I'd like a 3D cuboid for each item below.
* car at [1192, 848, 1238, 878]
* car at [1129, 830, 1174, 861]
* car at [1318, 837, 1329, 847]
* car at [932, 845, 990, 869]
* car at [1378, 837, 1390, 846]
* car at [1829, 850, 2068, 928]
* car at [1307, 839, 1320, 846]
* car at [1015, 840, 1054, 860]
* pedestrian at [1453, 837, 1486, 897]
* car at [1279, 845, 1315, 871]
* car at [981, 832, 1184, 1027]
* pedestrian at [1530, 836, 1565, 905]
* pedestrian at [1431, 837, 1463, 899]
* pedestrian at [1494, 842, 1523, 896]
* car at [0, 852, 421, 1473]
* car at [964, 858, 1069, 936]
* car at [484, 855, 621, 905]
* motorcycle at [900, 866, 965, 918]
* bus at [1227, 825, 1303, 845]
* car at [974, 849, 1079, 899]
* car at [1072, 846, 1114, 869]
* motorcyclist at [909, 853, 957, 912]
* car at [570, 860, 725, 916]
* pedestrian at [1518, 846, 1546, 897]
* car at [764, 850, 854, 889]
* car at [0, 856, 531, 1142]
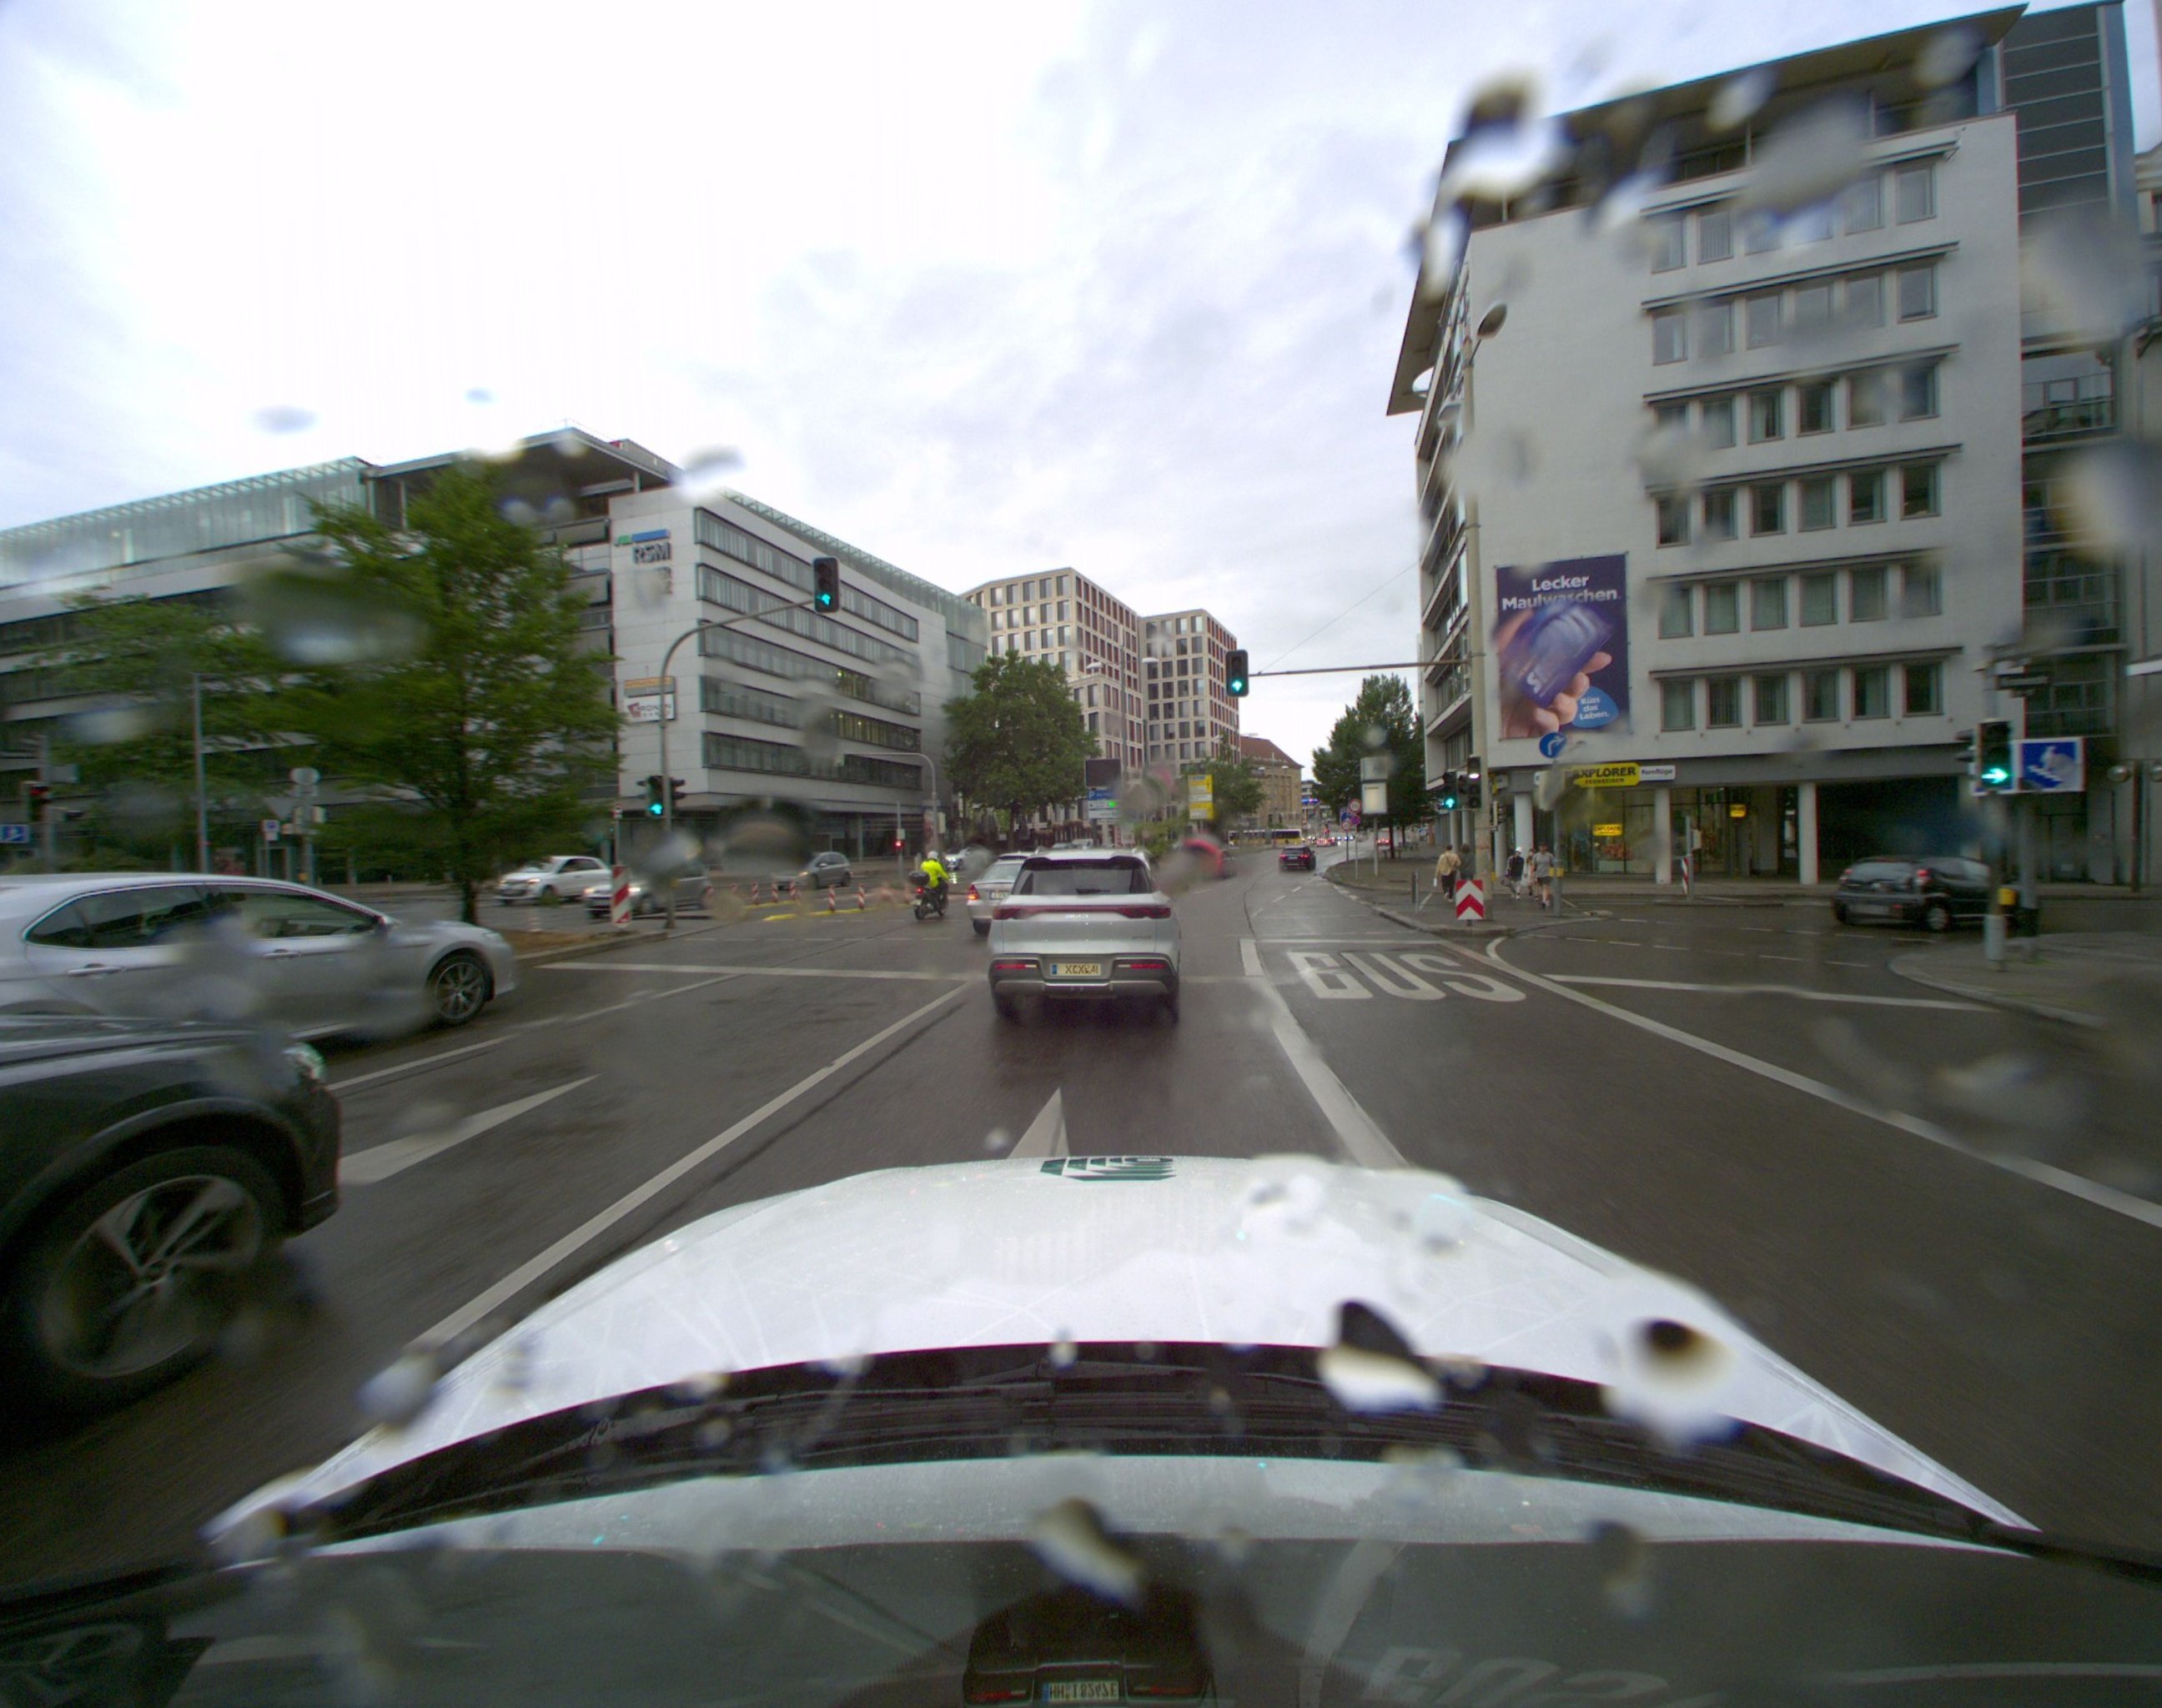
[{"bbox_3d":[7.156,0.488,43.278,1.557,1.486,4.021,-1,-1,22],"label":"car"},{"bbox_3d":[4.890,-0.539,56.174,1.977,2.014,4.871,-1,-1,19],"label":"car"},{"bbox_3d":[43.738,-2.192,146.940,1.872,1.643,4.019,-1,0,18],"label":"car"},{"bbox_3d":[-8.400,0.201,57.377,1.799,1.510,5.221,-1,1,19],"label":"car"},{"bbox_3d":[54.295,-2.300,145.966,1.678,1.486,4.023,-1,-1,26],"label":"car"},{"bbox_3d":[17.360,0.658,16.332,3.993,1.429,1.568,0,-1,-15],"label":"car"},{"bbox_3d":[47.513,-2.370,166.334,1.976,1.486,4.023,-1,1,24],"label":"car"},{"bbox_3d":[-3.868,-0.362,68.948,1.618,1.559,4.616,-1,1,19],"label":"car"},{"bbox_3d":[11.954,0.381,25.084,0.743,1.798,0.820,-1,0,16],"label":"pedestrian"},{"bbox_3d":[13.293,0.265,50.012,1.679,1.486,4.020,-1,-1,21],"label":"car"},{"bbox_3d":[0.239,0.678,9.080,1.766,1.679,4.007,0,-1,7],"label":"car"},{"bbox_3d":[12.368,0.434,21.589,0.662,1.794,0.778,-1,0,39],"label":"pedestrian"},{"bbox_3d":[10.902,0.412,24.296,0.743,1.798,0.820,-1,0,16],"label":"pedestrian"},{"bbox_3d":[13.337,0.459,25.410,0.662,1.655,0.657,-1,0,39],"label":"pedestrian"},{"bbox_3d":[-3.488,0.762,1.110,1.642,1.521,4.272,0,0,1],"label":"car"},{"bbox_3d":[-1.190,0.802,16.753,1.564,1.407,4.113,0,-1,4],"label":"car"},{"bbox_3d":[-17.587,0.829,27.303,1.627,1.571,3.731,0,-1,13],"label":"car"},{"bbox_3d":[-3.566,0.885,19.709,0.794,1.185,2.035,0,-1,13],"label":"motorcycle"},{"bbox_3d":[42.846,-4.369,189.972,16.825,4.063,4.459,-1,-1,18],"label":"bus"},{"bbox_3d":[-1.668,0.618,26.394,1.691,1.486,4.022,-1,-1,24],"label":"car"},{"bbox_3d":[0.858,0.202,55.720,1.618,1.437,3.927,-1,1,19],"label":"car"},{"bbox_3d":[-3.573,0.679,19.720,0.764,1.380,1.122,0,-1,13],"label":"motorcyclist"},{"bbox_3d":[-11.625,0.877,22.161,1.680,1.385,3.879,0,-1,10],"label":"car"},{"bbox_3d":[13.806,0.516,24.939,0.618,1.543,0.657,-1,0,39],"label":"pedestrian"},{"bbox_3d":[-11.781,0.624,35.549,1.631,1.581,4.104,-1,0,17],"label":"car"},{"bbox_3d":[-6.650,0.792,5.858,1.856,1.533,4.783,0,0,4],"label":"car"}]
